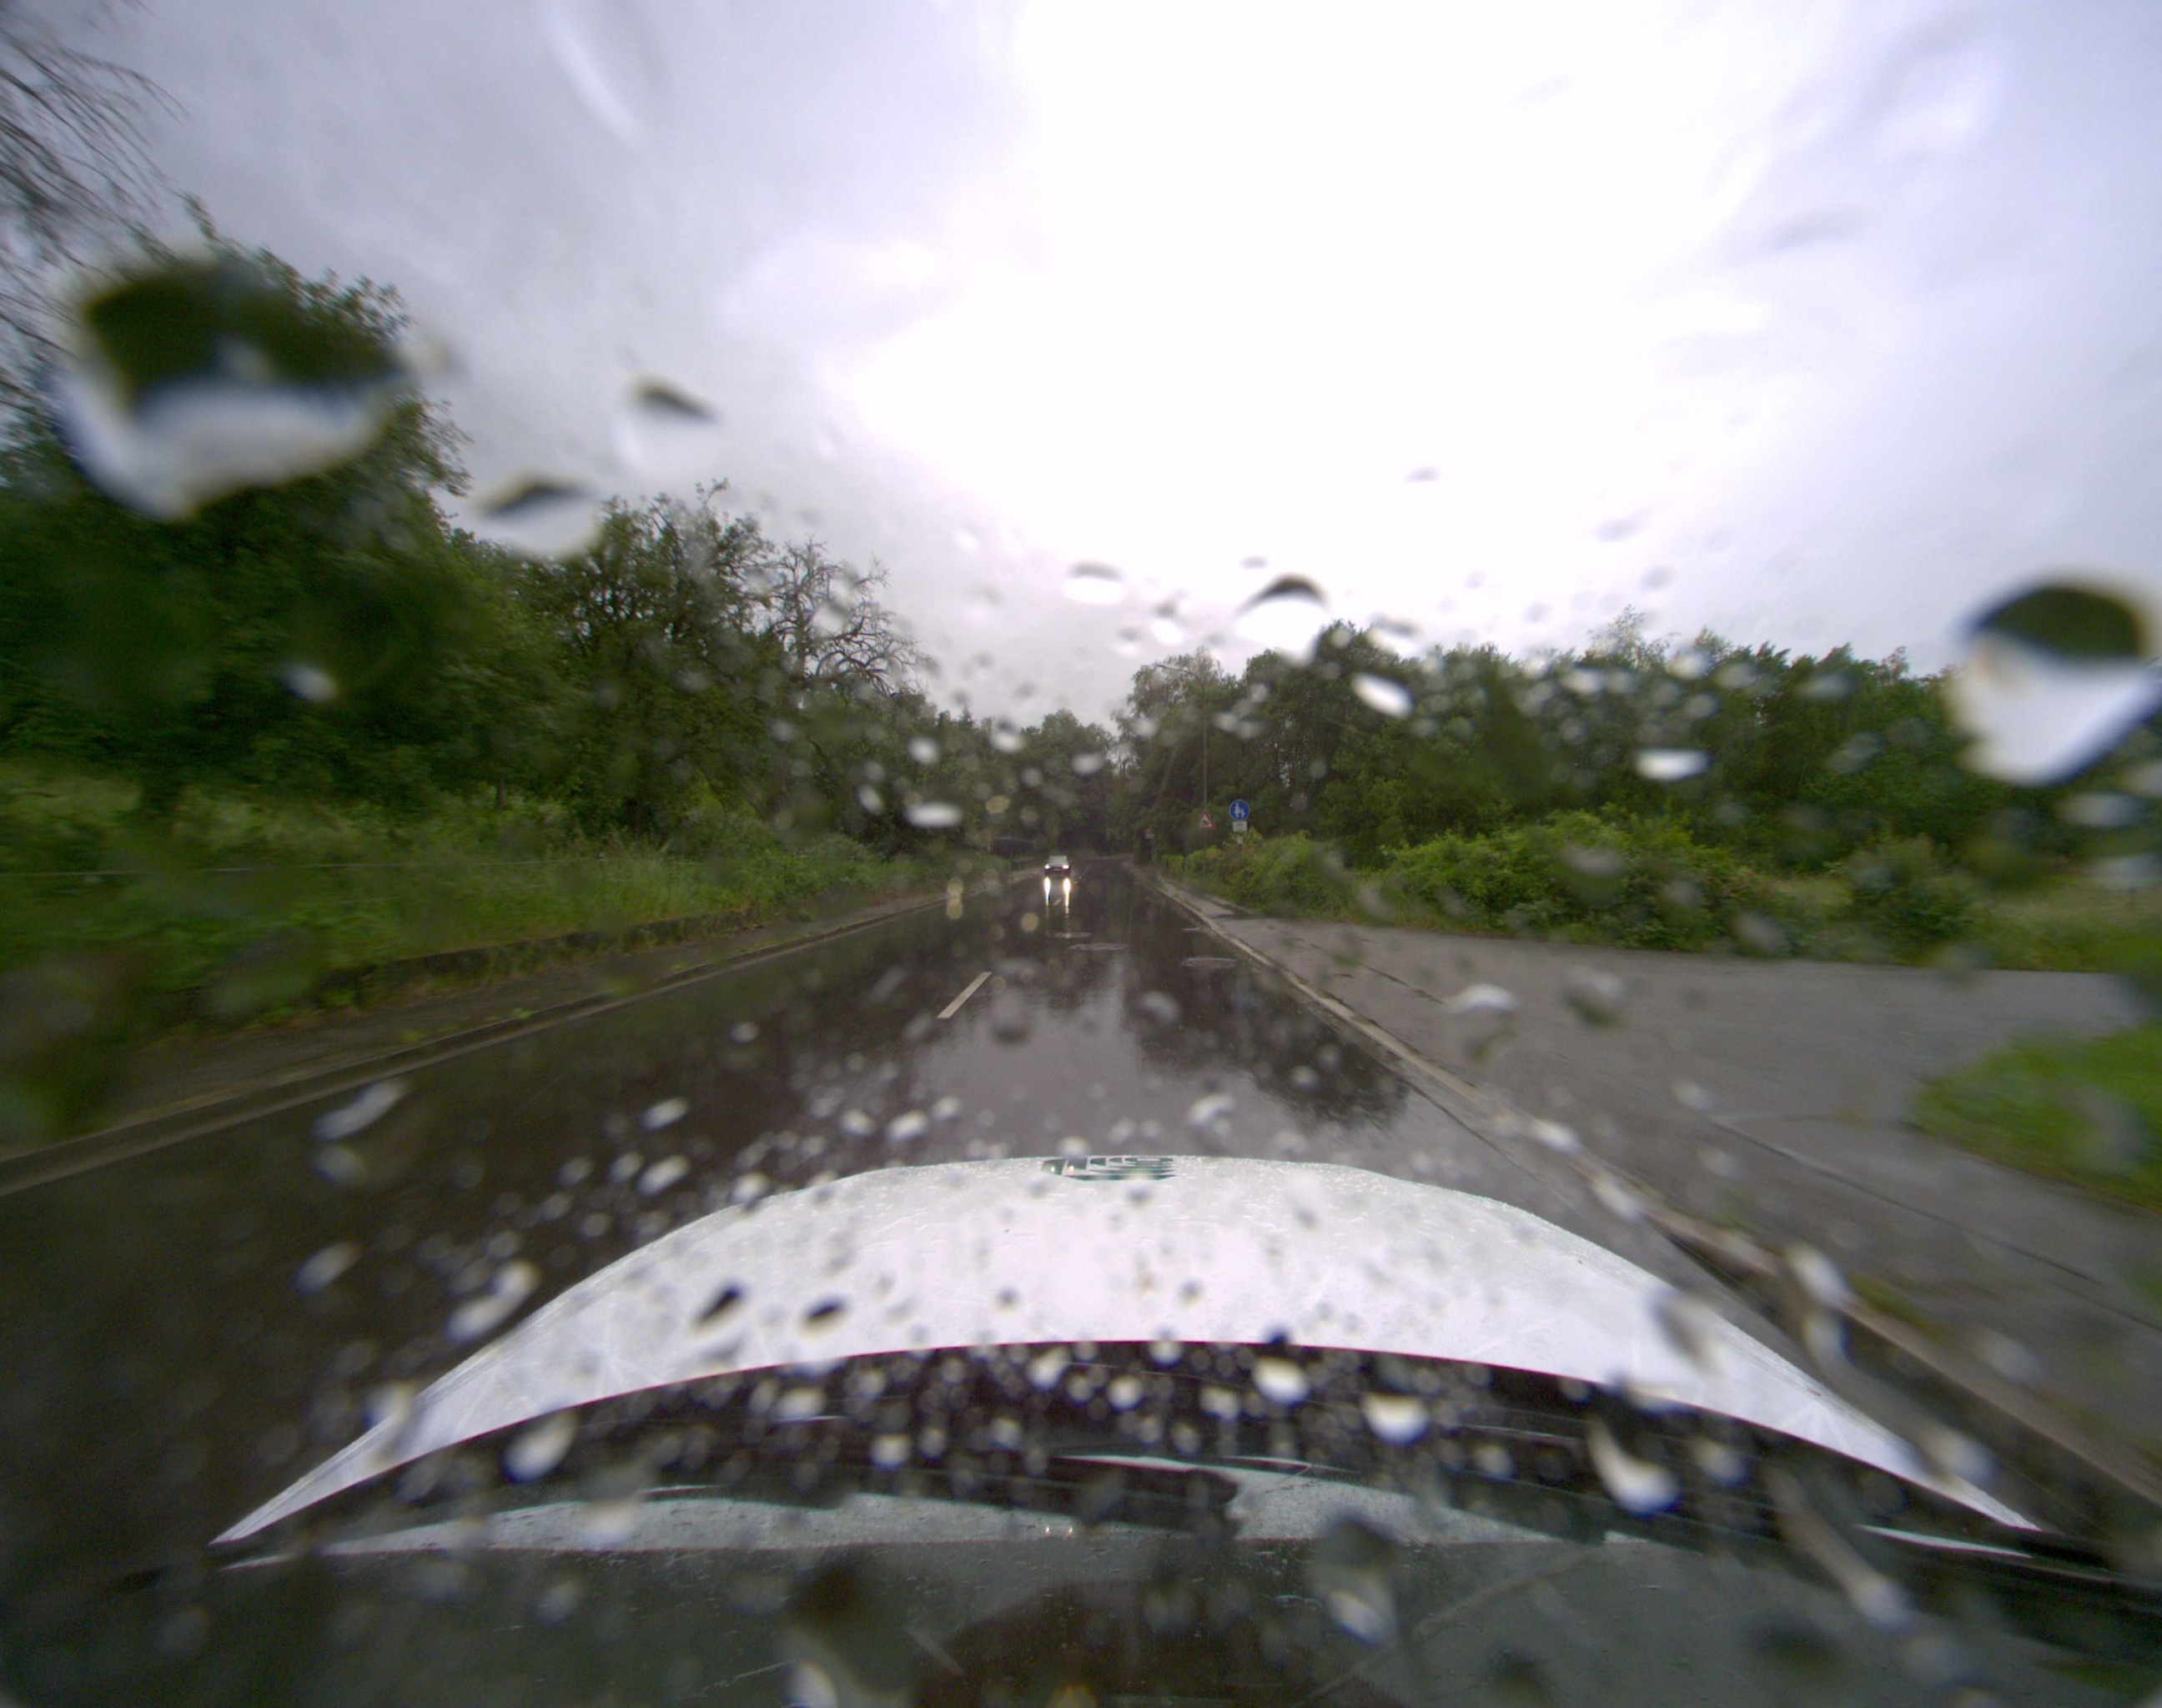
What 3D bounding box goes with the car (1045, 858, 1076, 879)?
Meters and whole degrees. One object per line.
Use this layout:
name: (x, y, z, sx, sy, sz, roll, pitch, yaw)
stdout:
car: (-1.483, 1.024, 60.002, 1.986, 1.454, 4.430, 0, 0, 2)
